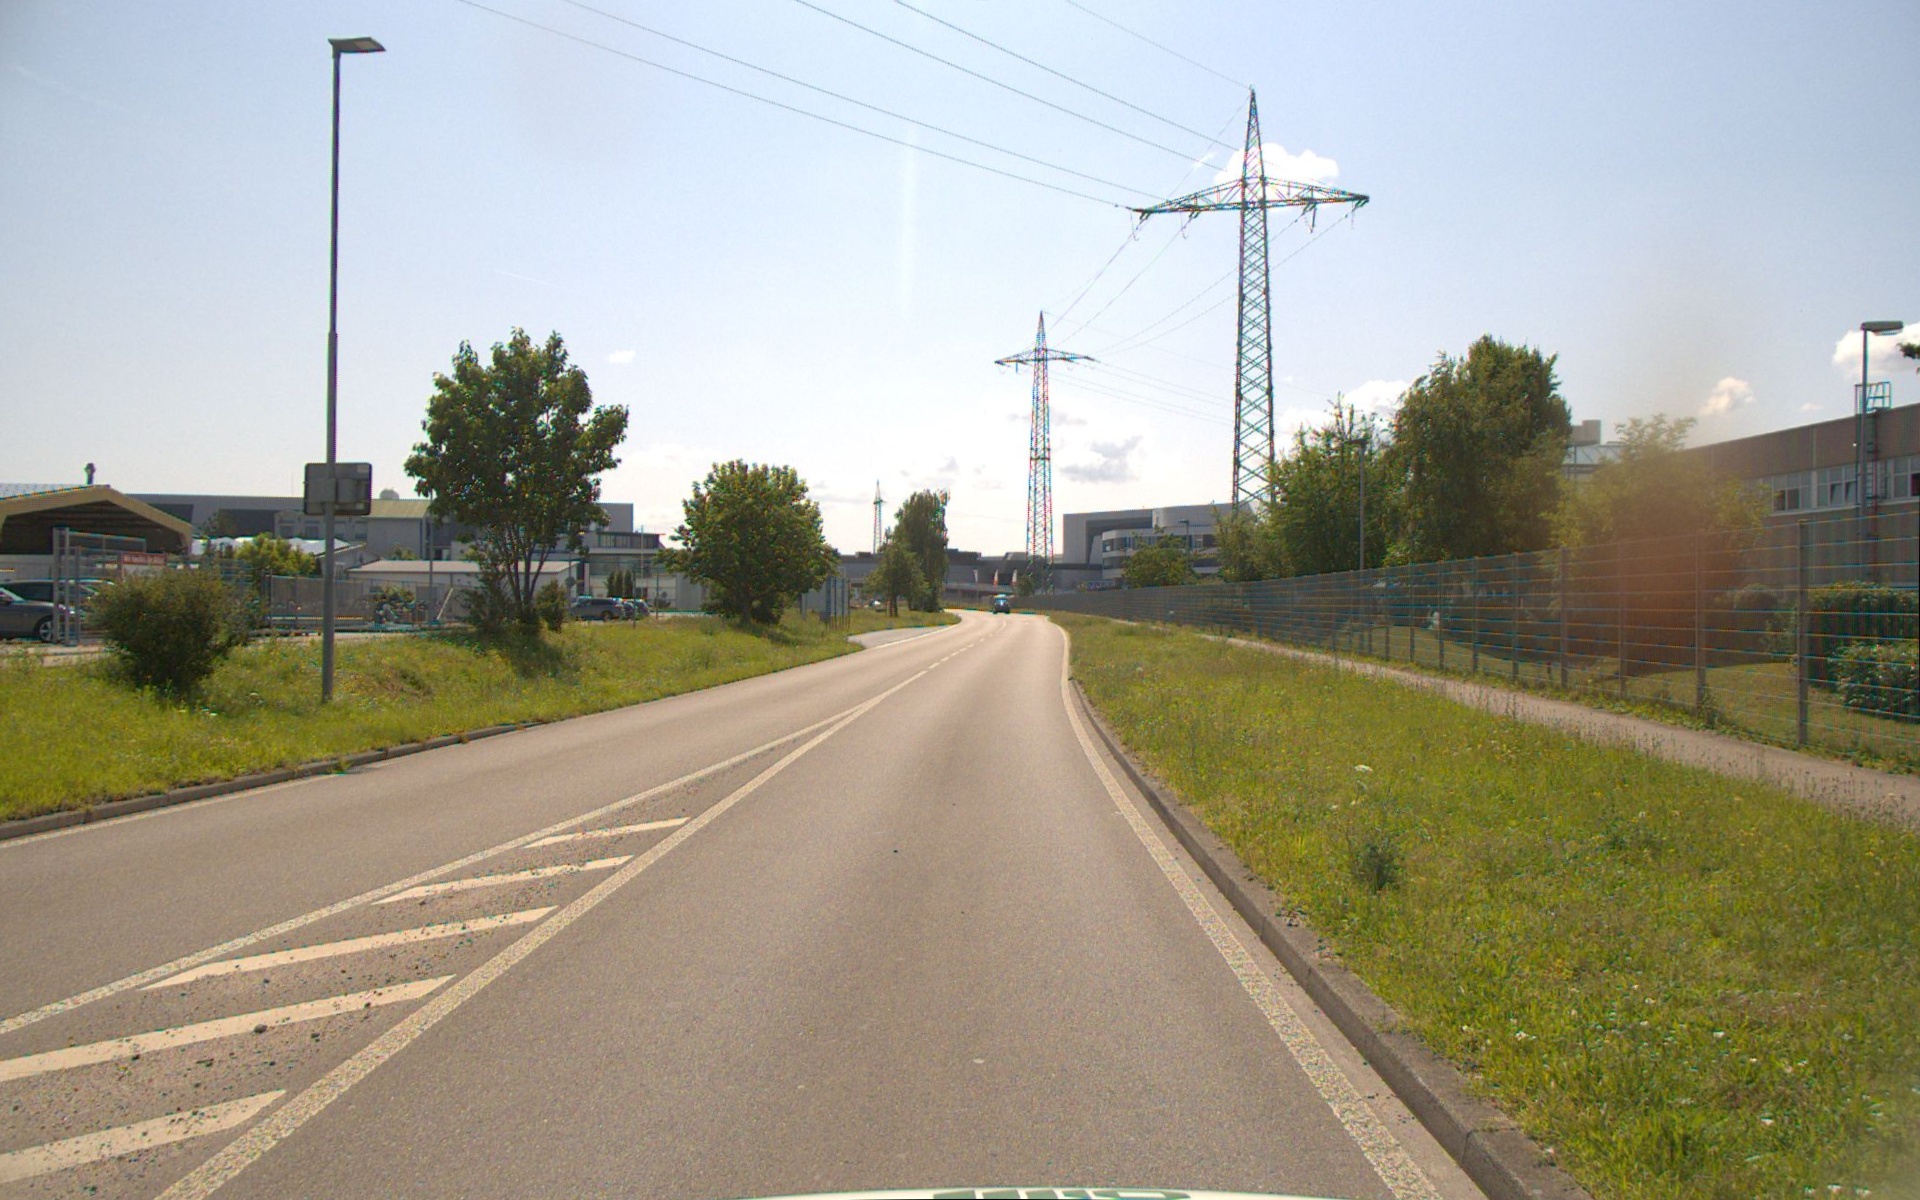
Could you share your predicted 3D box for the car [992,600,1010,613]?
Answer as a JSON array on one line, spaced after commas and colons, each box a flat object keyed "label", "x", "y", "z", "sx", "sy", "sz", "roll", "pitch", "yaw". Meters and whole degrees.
[{"label": "car", "x": 4.846, "y": 0.754, "z": 194.095, "sx": 1.971, "sy": 1.534, "sz": 4.000, "roll": 0, "pitch": 0, "yaw": 0}]

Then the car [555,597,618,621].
[{"label": "car", "x": -25.256, "y": 0.583, "z": 111.932, "sx": 3.907, "sy": 1.555, "sz": 1.999, "roll": 1, "pitch": 0, "yaw": -3}]

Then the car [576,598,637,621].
[{"label": "car", "x": -24.861, "y": 0.638, "z": 116.375, "sx": 3.907, "sy": 1.582, "sz": 1.665, "roll": 0, "pitch": 0, "yaw": -3}]

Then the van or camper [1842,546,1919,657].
[{"label": "van or camper", "x": 24.513, "y": 0.171, "z": 39.687, "sx": 5.657, "sy": 2.562, "sz": 1.998, "roll": 3, "pitch": 0, "yaw": -4}]

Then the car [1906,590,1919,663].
[{"label": "car", "x": 23.763, "y": 0.628, "z": 37.154, "sx": 3.908, "sy": 1.668, "sz": 1.999, "roll": 1, "pitch": 0, "yaw": -4}]

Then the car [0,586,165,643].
[{"label": "car", "x": -21.873, "y": 0.352, "z": 40.793, "sx": 3.946, "sy": 1.333, "sz": 1.923, "roll": 1, "pitch": 0, "yaw": -31}]

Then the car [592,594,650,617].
[{"label": "car", "x": -25.193, "y": 0.393, "z": 122.932, "sx": 3.907, "sy": 1.668, "sz": 1.999, "roll": 0, "pitch": 0, "yaw": -3}]

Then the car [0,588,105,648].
[{"label": "car", "x": -21.859, "y": 0.403, "z": 37.888, "sx": 3.945, "sy": 1.333, "sz": 1.923, "roll": 1, "pitch": 0, "yaw": -31}]
